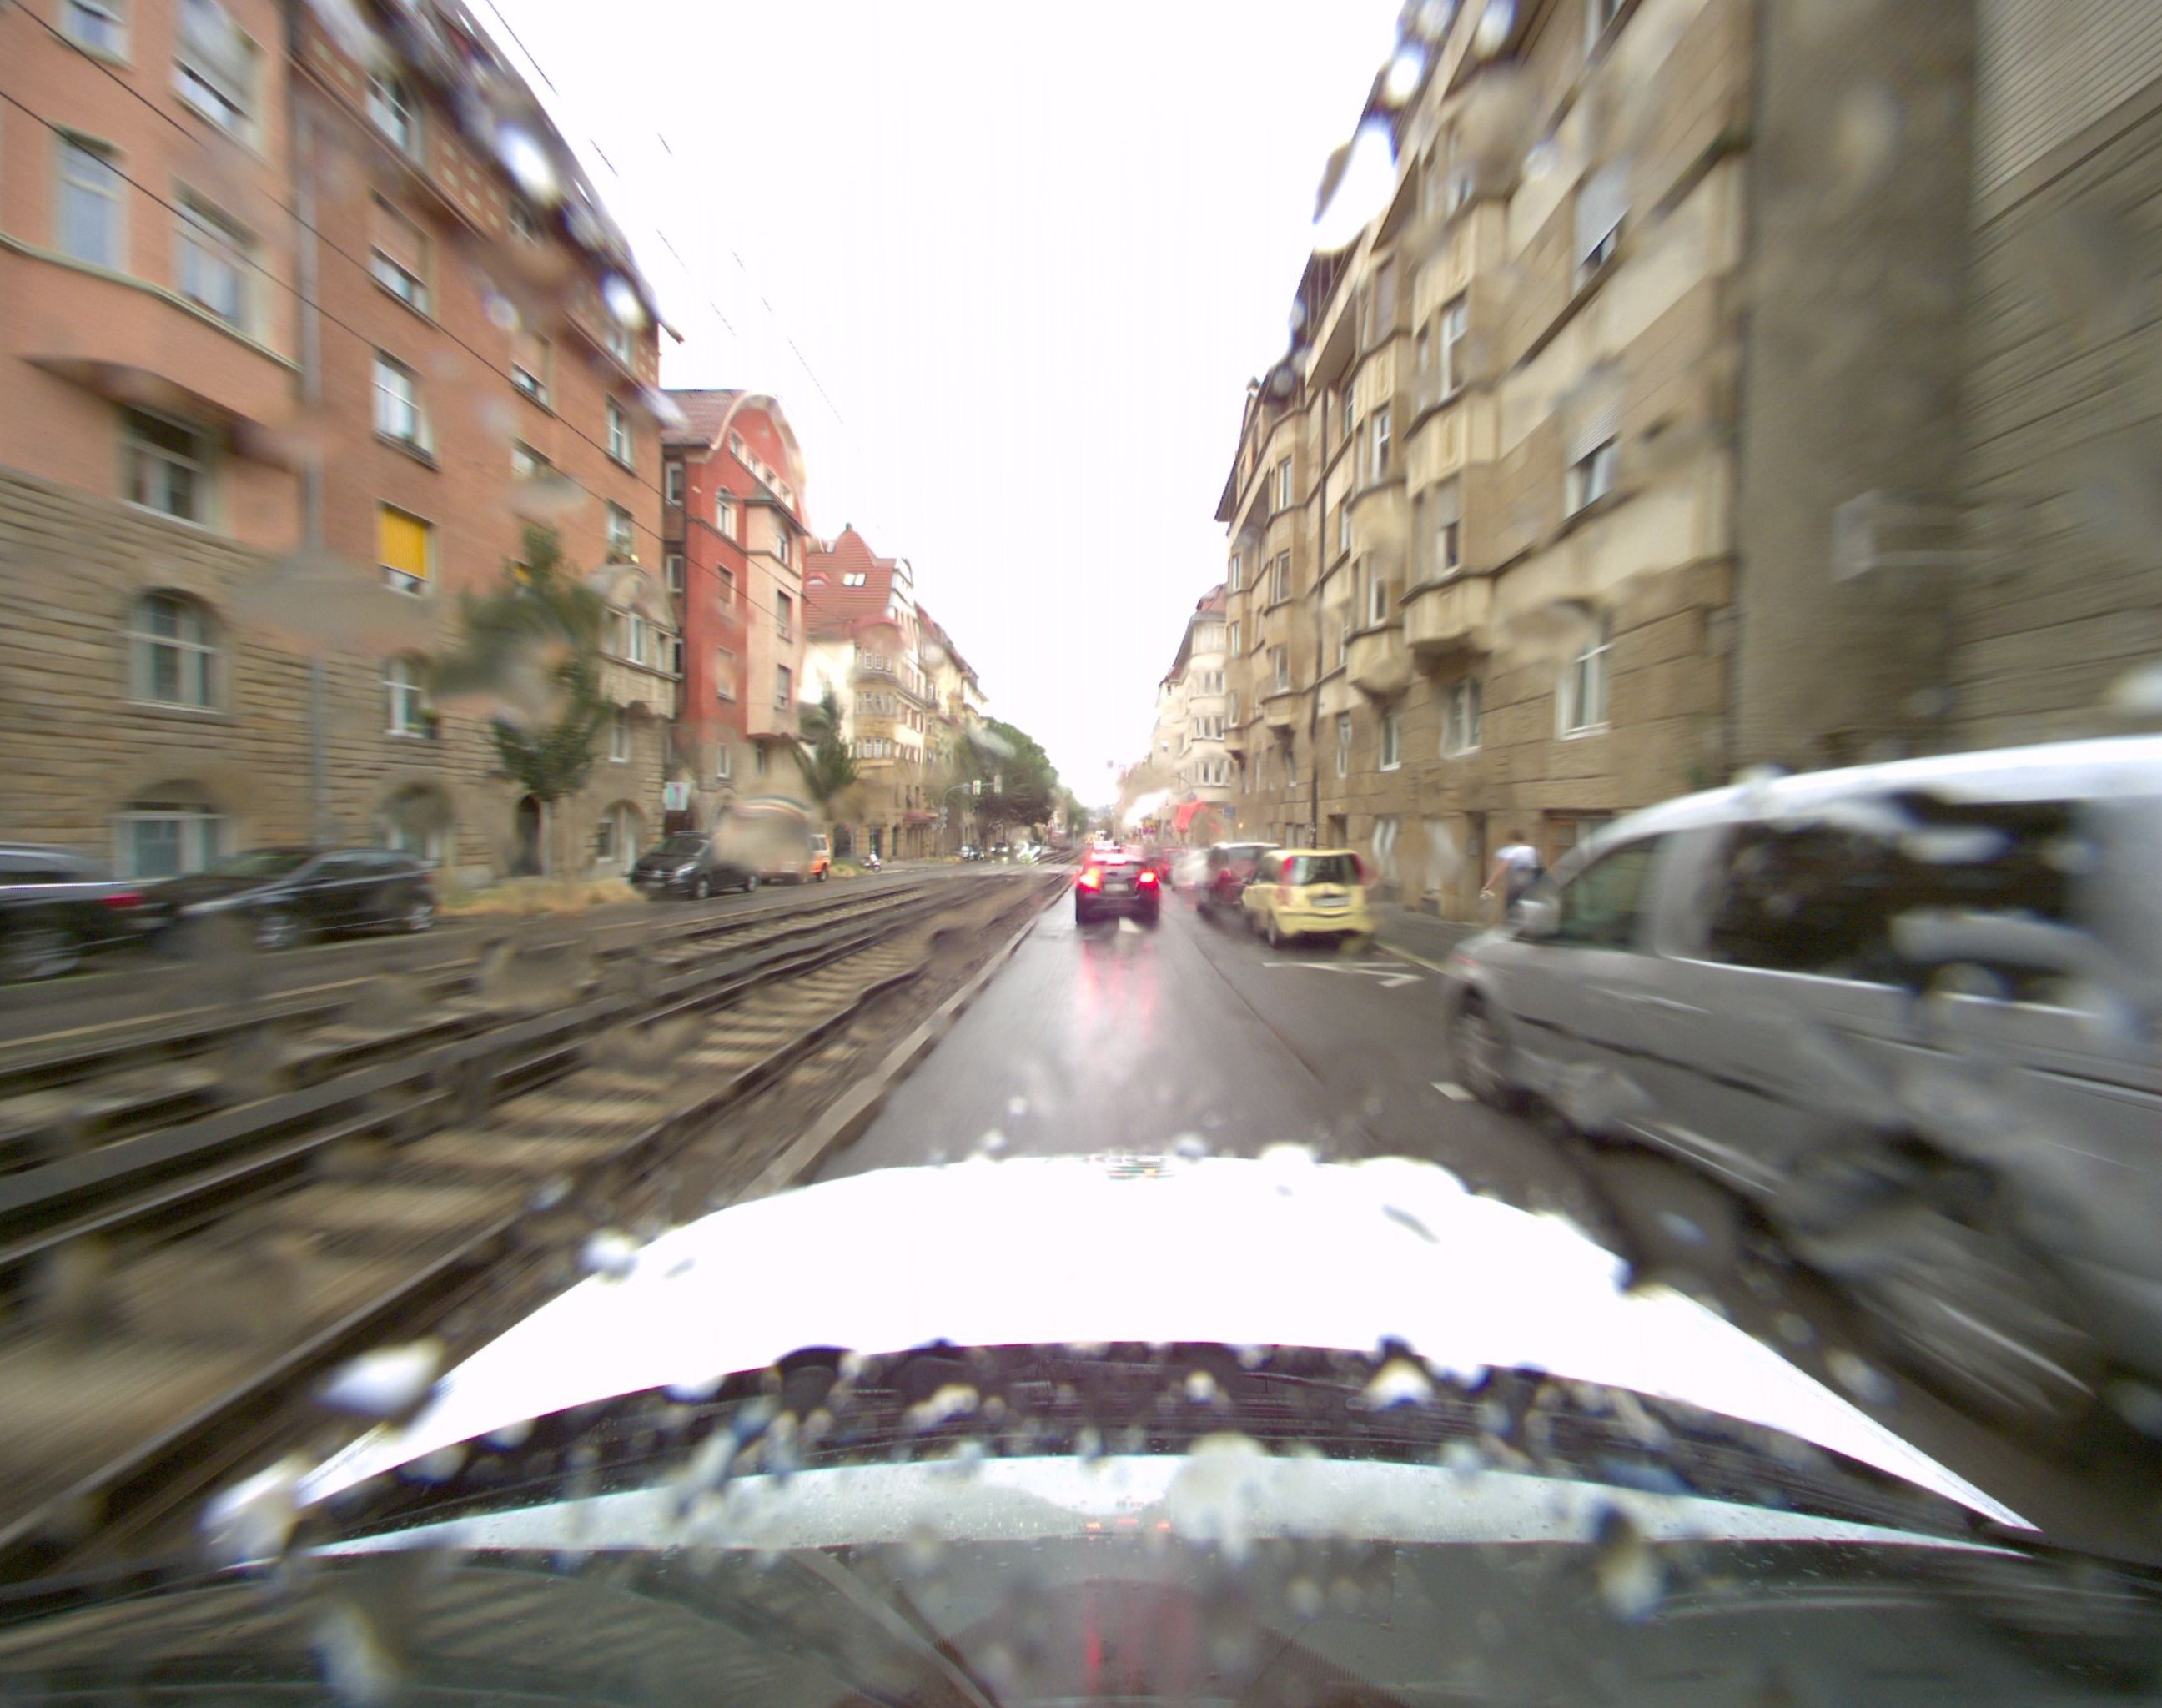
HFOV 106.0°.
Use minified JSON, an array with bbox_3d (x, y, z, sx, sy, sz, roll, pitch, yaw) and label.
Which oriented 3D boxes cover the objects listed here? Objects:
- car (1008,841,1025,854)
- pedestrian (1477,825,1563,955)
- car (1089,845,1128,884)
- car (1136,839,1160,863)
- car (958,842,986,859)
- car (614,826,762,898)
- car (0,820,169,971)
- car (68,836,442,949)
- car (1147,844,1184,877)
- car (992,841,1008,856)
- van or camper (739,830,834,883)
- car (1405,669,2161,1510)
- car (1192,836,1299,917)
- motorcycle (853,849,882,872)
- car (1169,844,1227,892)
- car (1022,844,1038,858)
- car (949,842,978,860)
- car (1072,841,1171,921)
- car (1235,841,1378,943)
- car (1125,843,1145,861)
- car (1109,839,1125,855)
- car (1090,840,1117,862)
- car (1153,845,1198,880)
[{"bbox_3d":[-9.018,-0.909,114.375,1.986,1.793,4.002,1,1,2],"label":"car"},{"bbox_3d":[6.040,0.483,11.231,0.859,1.733,0.609,0,0,1],"label":"pedestrian"},{"bbox_3d":[1.171,0.418,34.613,1.530,1.510,4.002,1,0,2],"label":"car"},{"bbox_3d":[5.875,-0.250,71.792,1.891,2.028,4.178,0,-1,2],"label":"car"},{"bbox_3d":[-10.161,-0.342,76.176,1.986,1.517,4.002,0,1,2],"label":"car"},{"bbox_3d":[-11.529,0.207,24.340,1.986,1.901,4.701,-1,0,1],"label":"car"},{"bbox_3d":[-11.979,0.410,7.253,1.986,1.509,4.976,2,1,1],"label":"car"},{"bbox_3d":[-11.890,0.463,12.166,1.637,1.398,3.882,1,1,-1],"label":"car"},{"bbox_3d":[4.154,0.276,40.556,1.543,1.508,4.002,1,1,2],"label":"car"},{"bbox_3d":[-9.648,-0.658,96.975,1.786,1.691,3.994,0,0,-4],"label":"car"},{"bbox_3d":[-11.446,0.074,32.075,1.987,1.901,4.698,-2,0,0],"label":"van or camper"},{"bbox_3d":[3.176,0.468,3.627,1.768,1.776,4.360,0,1,0],"label":"car"},{"bbox_3d":[3.591,0.433,18.439,1.704,1.628,4.002,1,1,2],"label":"car"},{"bbox_3d":[-11.156,0.336,42.595,1.423,1.134,0.624,1,0,31],"label":"motorcycle"},{"bbox_3d":[3.958,0.444,27.948,1.631,1.543,3.467,0,0,2],"label":"car"},{"bbox_3d":[-6.127,-0.393,98.129,1.791,1.548,3.997,-2,1,-2],"label":"car"},{"bbox_3d":[-10.166,-0.242,70.851,1.765,1.464,4.002,0,0,2],"label":"car"},{"bbox_3d":[0.809,0.526,17.849,1.939,1.564,3.643,0,0,0],"label":"car"},{"bbox_3d":[3.661,0.549,13.773,1.553,1.478,3.462,1,1,2],"label":"car"},{"bbox_3d":[5.568,-0.192,84.347,1.764,1.776,3.997,0,-1,-2],"label":"car"},{"bbox_3d":[4.235,-0.754,95.601,1.846,1.797,3.813,0,-1,2],"label":"car"},{"bbox_3d":[1.742,-0.230,63.895,1.916,1.655,3.999,0,1,-1],"label":"car"},{"bbox_3d":[4.059,0.345,35.269,1.597,1.419,3.148,0,1,0],"label":"car"}]
